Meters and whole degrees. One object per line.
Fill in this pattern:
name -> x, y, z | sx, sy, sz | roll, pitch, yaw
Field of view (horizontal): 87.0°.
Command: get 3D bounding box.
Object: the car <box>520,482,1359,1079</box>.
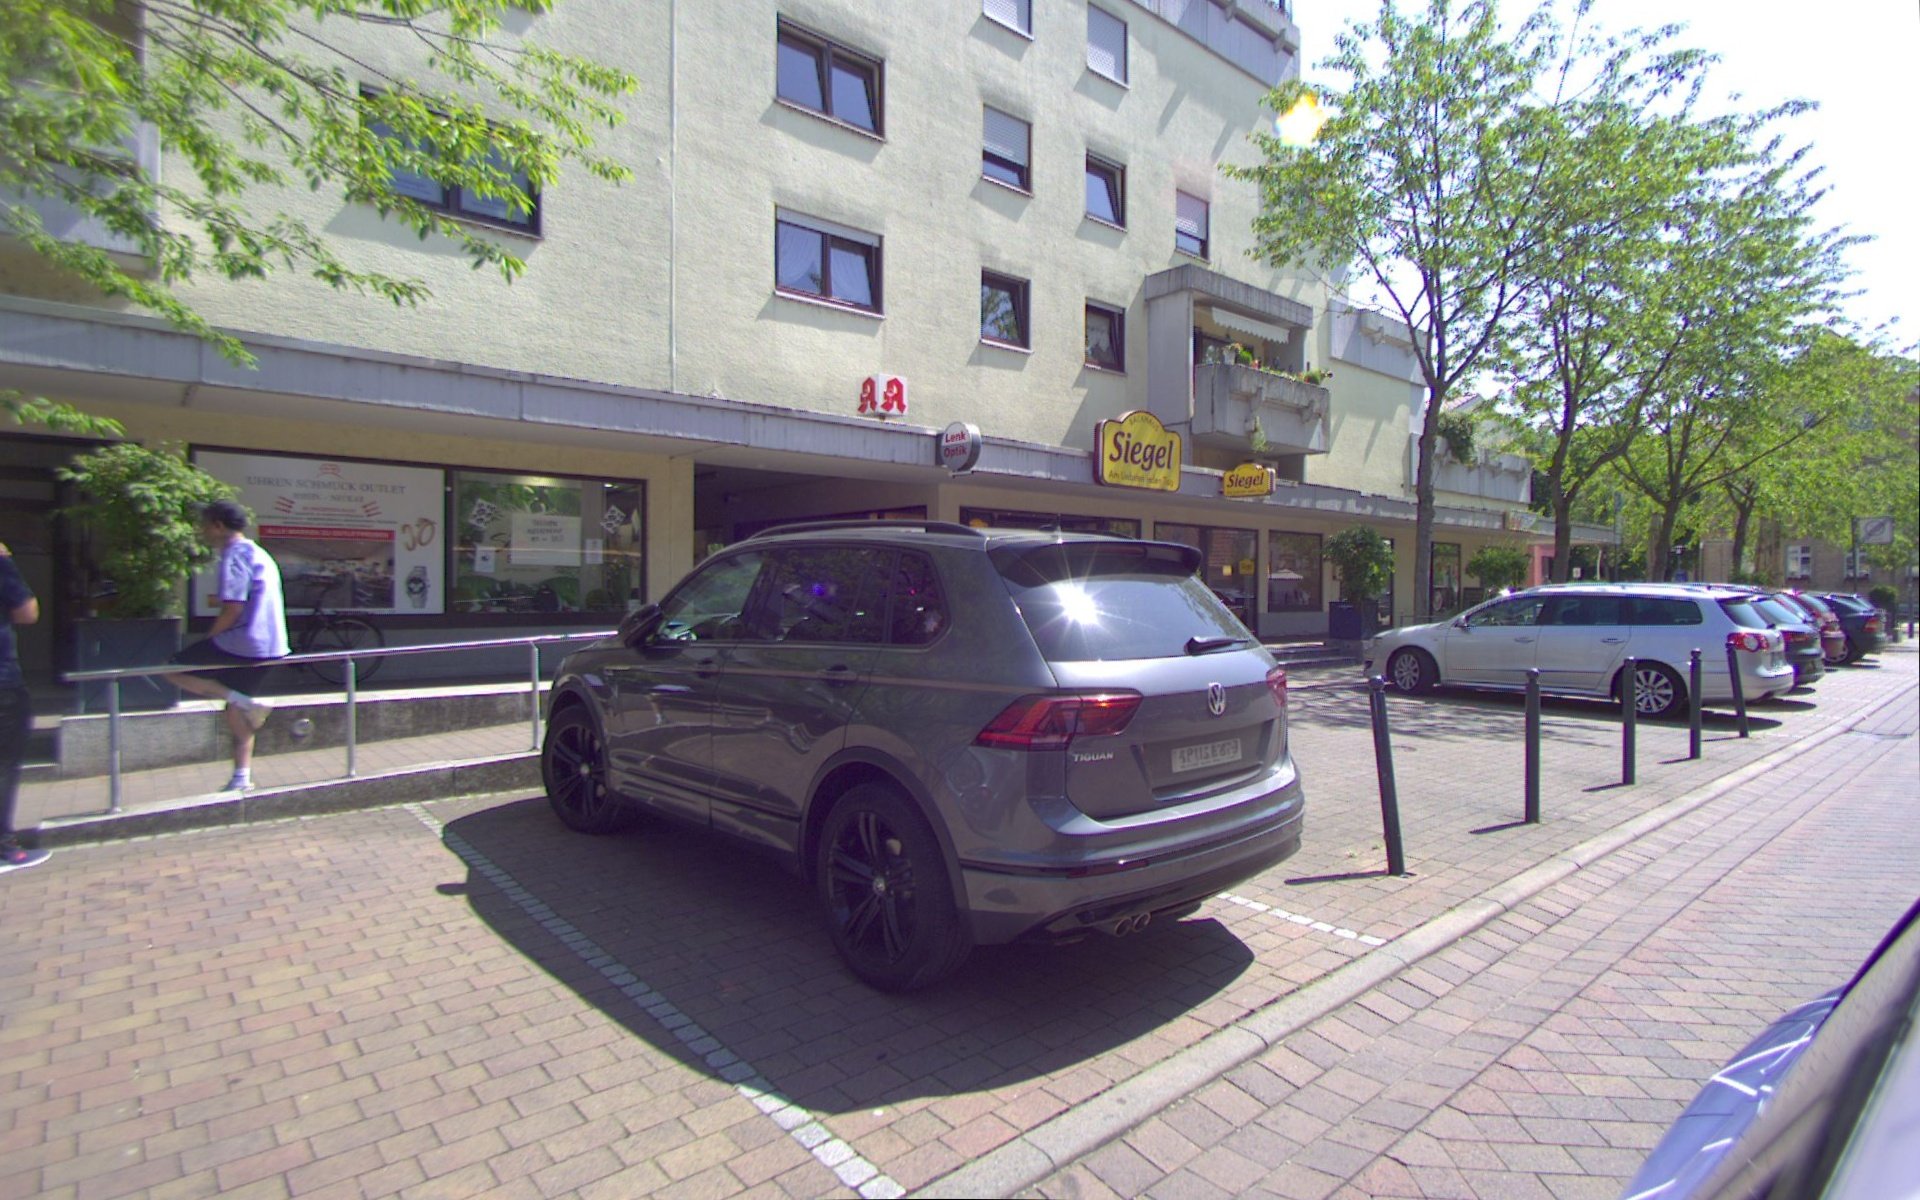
car -> -0.512, 0.427, 4.933 | 1.727, 1.638, 4.249 | 0, 2, -42

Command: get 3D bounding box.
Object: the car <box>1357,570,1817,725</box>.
car -> 7.603, 0.424, 12.696 | 1.775, 1.562, 4.584 | -1, 2, -40

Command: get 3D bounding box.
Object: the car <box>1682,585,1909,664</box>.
car -> 17.045, 0.438, 20.762 | 1.435, 1.407, 3.400 | -1, 2, -40

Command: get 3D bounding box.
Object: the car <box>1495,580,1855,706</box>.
car -> 9.740, 0.474, 14.027 | 1.585, 1.449, 3.798 | -1, 2, -40

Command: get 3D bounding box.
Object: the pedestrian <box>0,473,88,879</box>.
pedestrian -> -4.567, 0.343, 4.698 | 0.622, 1.819, 0.600 | -1, 0, 28

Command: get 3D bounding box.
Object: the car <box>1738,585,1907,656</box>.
car -> 19.084, 0.426, 22.458 | 1.246, 1.464, 2.701 | -1, 0, -41

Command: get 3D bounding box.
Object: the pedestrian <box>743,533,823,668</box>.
pedestrian -> -2.456, -0.005, 14.035 | 0.853, 1.803, 0.760 | -1, 1, -34

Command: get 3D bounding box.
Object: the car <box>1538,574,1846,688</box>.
car -> 11.407, 0.383, 15.946 | 1.604, 1.536, 3.650 | -1, 2, -40

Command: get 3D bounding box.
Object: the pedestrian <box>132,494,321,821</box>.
pedestrian -> -4.173, 0.306, 5.801 | 0.635, 1.752, 0.617 | -1, 0, -7

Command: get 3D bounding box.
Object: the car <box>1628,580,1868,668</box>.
car -> 15.033, 0.378, 19.440 | 1.494, 1.482, 3.400 | -1, 2, -40

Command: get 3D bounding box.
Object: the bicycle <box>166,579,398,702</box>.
bicycle -> -6.705, 0.361, 10.070 | 1.834, 1.095, 0.642 | -2, 0, -42
